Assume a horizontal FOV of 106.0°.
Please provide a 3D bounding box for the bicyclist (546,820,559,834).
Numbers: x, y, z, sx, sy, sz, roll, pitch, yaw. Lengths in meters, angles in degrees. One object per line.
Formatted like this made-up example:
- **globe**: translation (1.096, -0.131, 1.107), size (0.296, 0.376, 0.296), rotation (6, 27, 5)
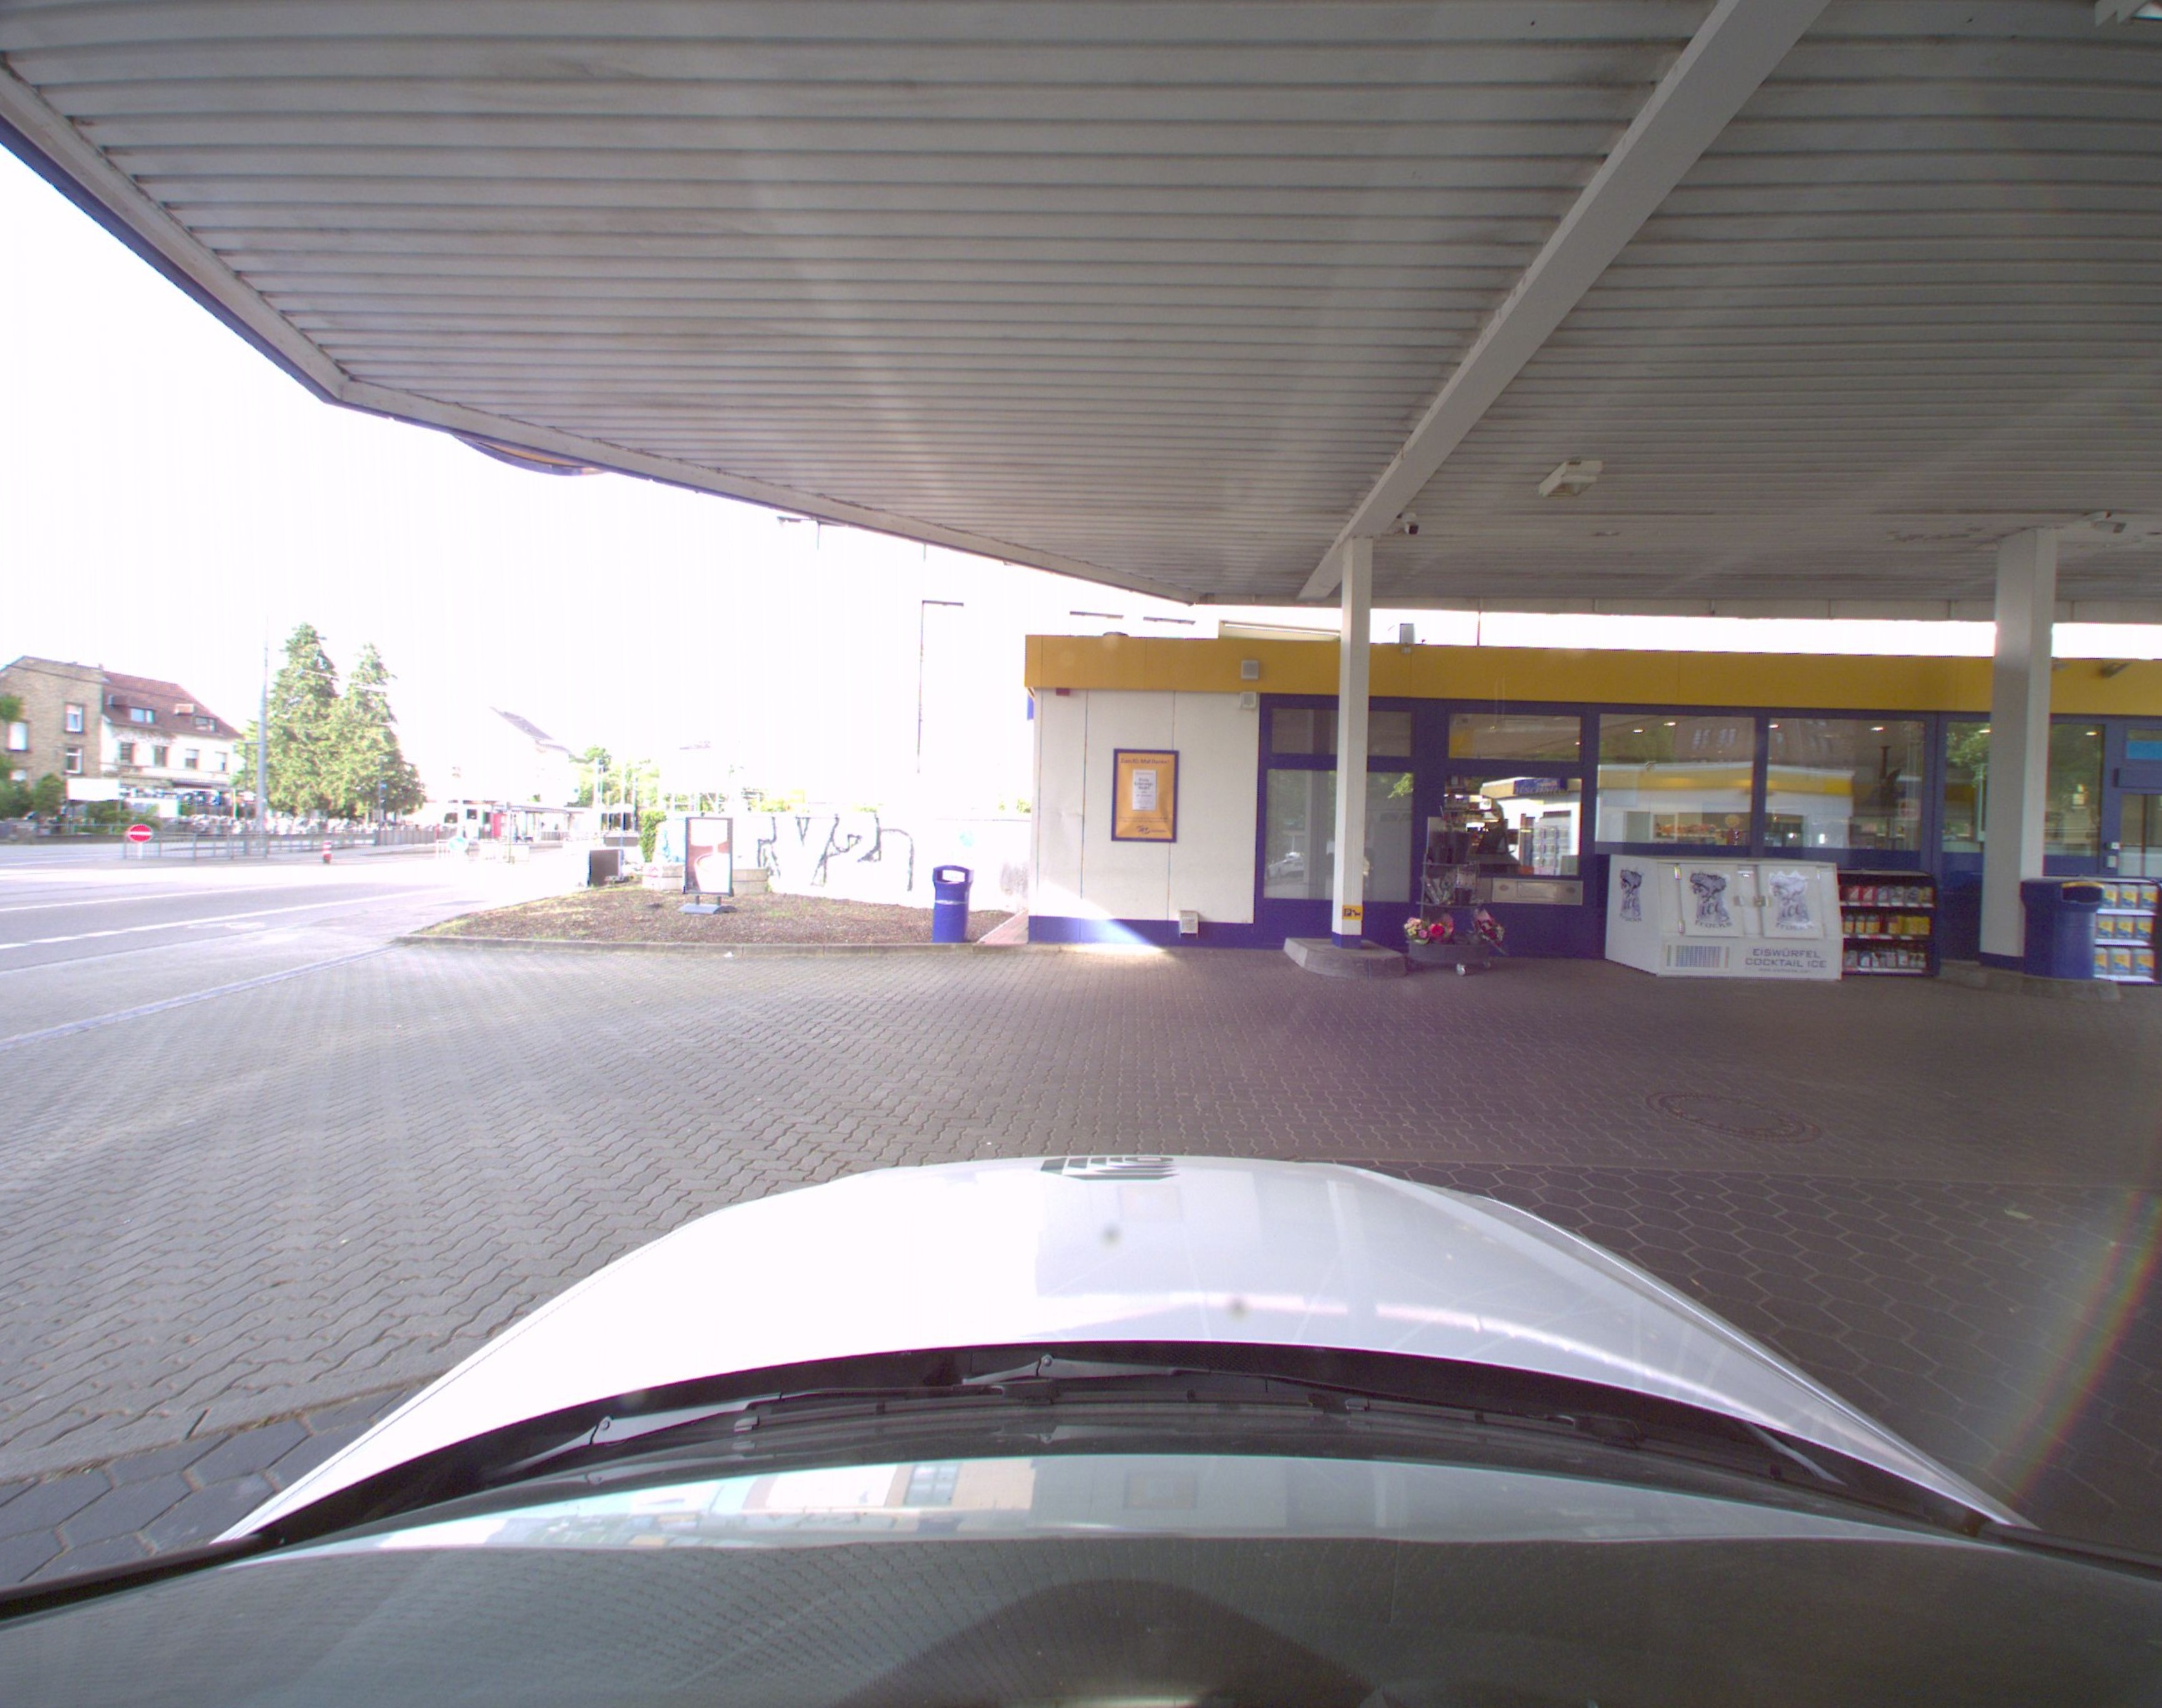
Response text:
- **bicyclist**: translation (-55.017, -2.771, 84.799), size (0.750, 1.409, 0.917), rotation (6, 0, -12)

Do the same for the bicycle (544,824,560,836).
- **bicycle**: translation (-55.029, -2.491, 84.748), size (0.750, 1.203, 1.813), rotation (6, 0, -13)
